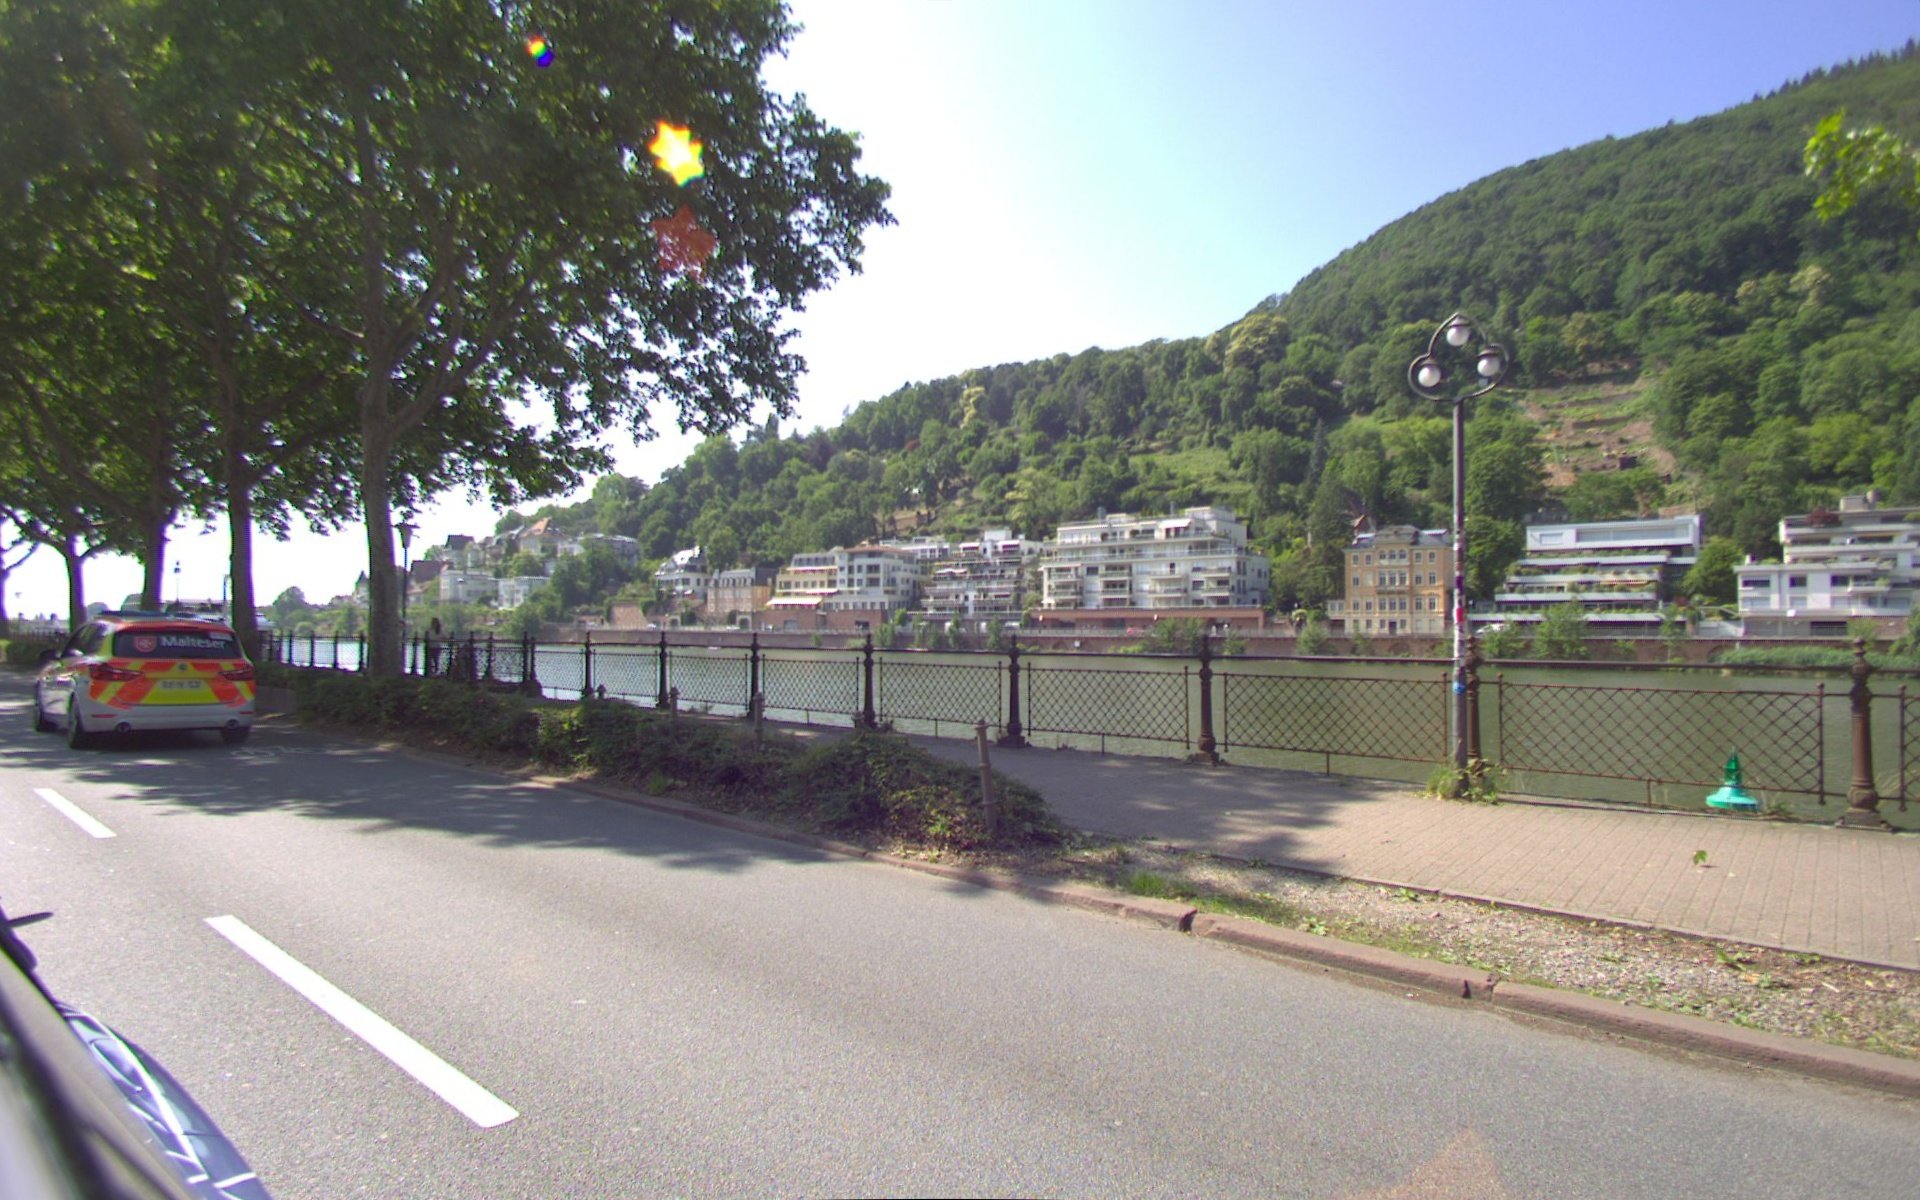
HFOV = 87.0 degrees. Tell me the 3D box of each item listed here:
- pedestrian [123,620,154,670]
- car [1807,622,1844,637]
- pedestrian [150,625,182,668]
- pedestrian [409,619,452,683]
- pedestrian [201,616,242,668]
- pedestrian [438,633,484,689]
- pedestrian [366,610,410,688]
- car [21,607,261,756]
[{"bbox_3d":[-31.892,1.735,39.295,0.928,1.863,0.796,-1,0,41],"label":"pedestrian"},{"bbox_3d":[125.968,4.263,147.328,3.998,2.029,1.973,-2,-1,41],"label":"car"},{"bbox_3d":[-31.524,1.836,40.165,0.885,1.647,1.060,0,0,-44],"label":"pedestrian"},{"bbox_3d":[-15.090,1.450,28.849,0.829,1.771,0.767,-2,-4,40],"label":"pedestrian"},{"bbox_3d":[-29.571,1.664,40.545,1.032,2.029,1.038,-1,0,-19],"label":"pedestrian"},{"bbox_3d":[-12.661,1.536,25.692,0.770,1.398,0.758,-2,-3,40],"label":"pedestrian"},{"bbox_3d":[-14.329,1.226,25.331,0.756,1.915,0.771,3,-4,-42],"label":"pedestrian"},{"bbox_3d":[-10.912,1.016,13.378,4.220,1.673,1.656,-2,-5,41],"label":"car"}]
